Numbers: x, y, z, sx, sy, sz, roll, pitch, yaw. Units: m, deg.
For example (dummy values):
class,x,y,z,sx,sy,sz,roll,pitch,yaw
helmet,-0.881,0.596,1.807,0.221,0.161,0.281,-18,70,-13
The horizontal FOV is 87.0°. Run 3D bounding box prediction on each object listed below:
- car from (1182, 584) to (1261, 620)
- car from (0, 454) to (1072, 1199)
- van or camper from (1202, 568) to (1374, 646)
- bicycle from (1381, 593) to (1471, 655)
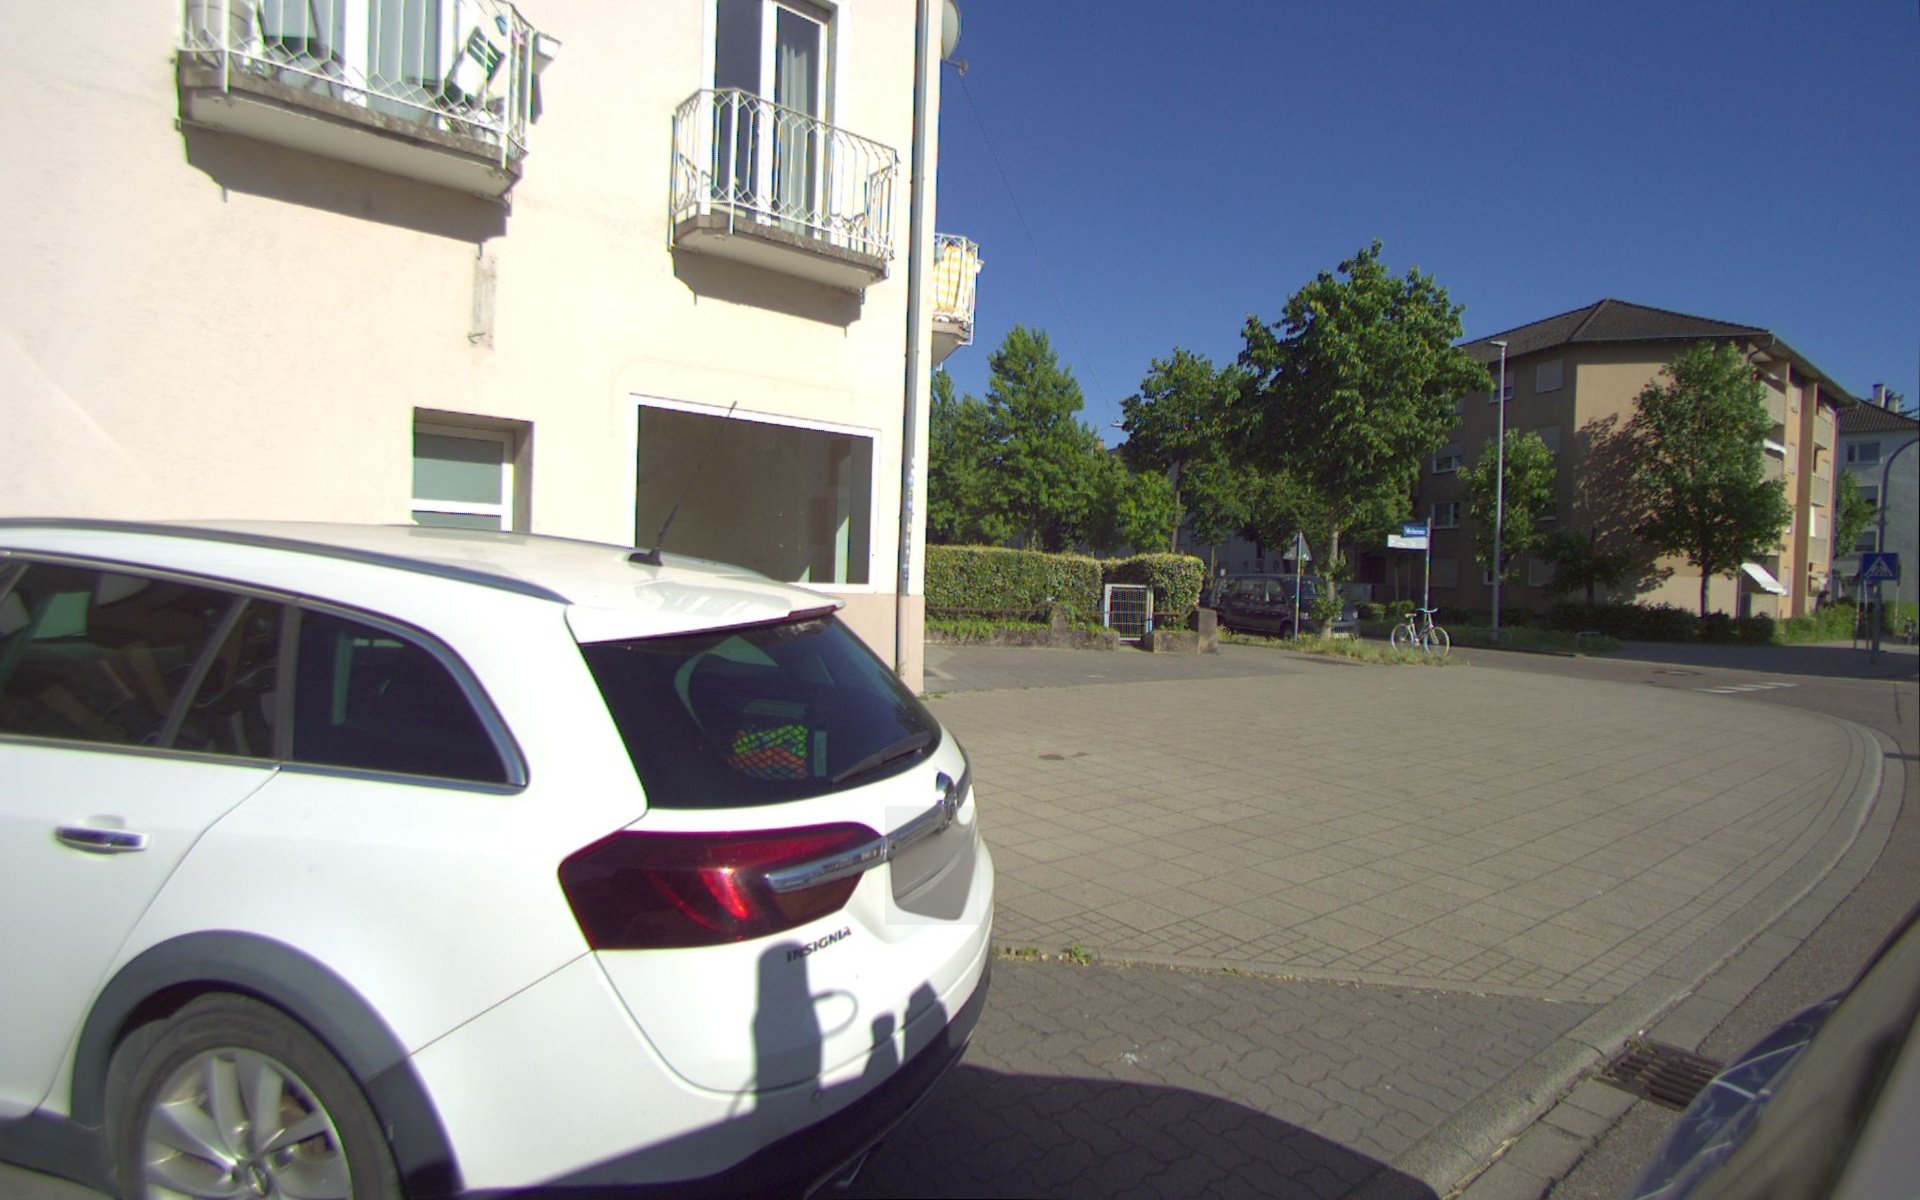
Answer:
class,x,y,z,sx,sy,sz,roll,pitch,yaw
car,11.701,0.062,45.525,1.630,1.412,4.102,-1,3,-15
car,-2.241,0.401,3.008,4.806,1.481,1.963,5,2,16
van or camper,8.869,0.085,28.009,1.954,1.885,5.400,-1,3,-14
bicycle,10.115,0.502,22.050,0.518,1.208,2.035,1,2,-18
